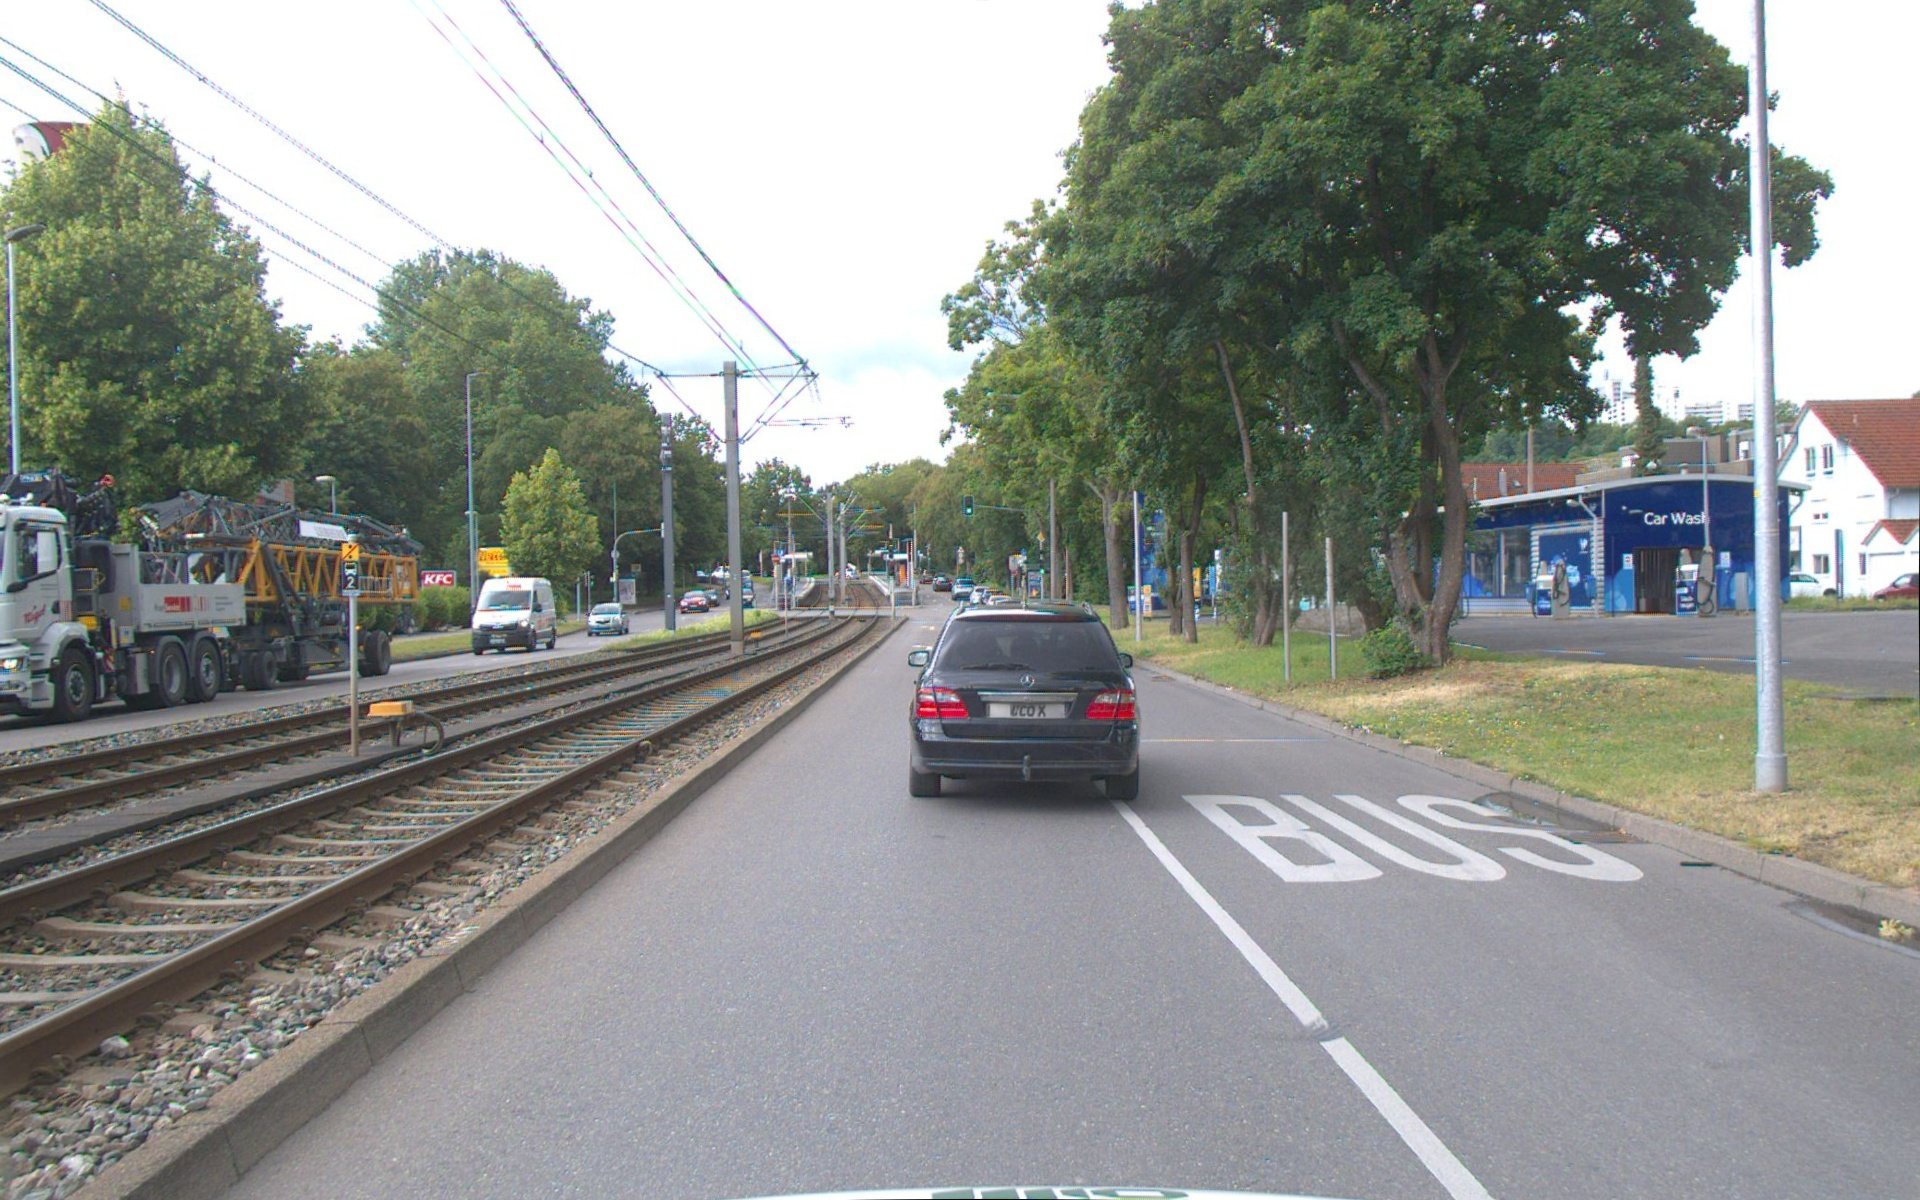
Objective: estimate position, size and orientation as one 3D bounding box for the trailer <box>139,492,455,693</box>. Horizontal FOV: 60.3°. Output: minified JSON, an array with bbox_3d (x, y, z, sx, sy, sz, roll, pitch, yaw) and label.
[{"bbox_3d":[-14.549,-0.158,37.912,2.651,3.724,13.288,-1,0,-4],"label":"trailer"}]

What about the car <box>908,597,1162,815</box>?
[{"bbox_3d":[0.499,0.737,13.475,1.772,1.500,3.880,0,0,-1],"label":"car"}]

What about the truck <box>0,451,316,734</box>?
[{"bbox_3d":[-13.846,-0.084,27.316,2.653,3.727,11.104,-1,0,-4],"label":"truck"}]

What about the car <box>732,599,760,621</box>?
[{"bbox_3d":[-16.552,0.783,127.884,1.729,1.676,3.770,0,0,-1],"label":"car"}]

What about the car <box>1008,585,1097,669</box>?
[{"bbox_3d":[2.069,0.594,37.714,1.744,1.781,3.717,1,0,-1],"label":"car"}]

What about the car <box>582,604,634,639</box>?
[{"bbox_3d":[-16.965,1.020,79.938,1.729,1.676,3.770,0,0,-1],"label":"car"}]

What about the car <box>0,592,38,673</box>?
[{"bbox_3d":[-23.826,0.727,38.271,3.909,1.829,1.876,0,0,-6],"label":"car"}]

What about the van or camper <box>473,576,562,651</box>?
[{"bbox_3d":[-15.230,0.429,57.261,1.955,2.395,5.759,-1,0,-5],"label":"van or camper"}]

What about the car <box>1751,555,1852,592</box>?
[{"bbox_3d":[41.414,-1.296,81.465,4.132,1.713,1.776,1,0,-4],"label":"car"}]

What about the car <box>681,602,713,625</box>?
[{"bbox_3d":[-18.938,0.962,119.251,1.729,1.676,3.770,0,0,-1],"label":"car"}]

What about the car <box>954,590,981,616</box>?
[{"bbox_3d":[0.555,0.211,124.222,1.953,1.870,3.999,0,0,-1],"label":"car"}]

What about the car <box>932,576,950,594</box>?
[{"bbox_3d":[-2.078,-1.613,181.463,1.953,1.870,3.999,0,0,-1],"label":"car"}]

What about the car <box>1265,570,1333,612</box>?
[{"bbox_3d":[14.708,-0.402,71.604,1.965,1.712,4.578,-1,0,23],"label":"car"}]

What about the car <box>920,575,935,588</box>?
[{"bbox_3d":[-3.851,-2.181,197.012,1.634,1.559,3.767,1,0,-4],"label":"car"}]

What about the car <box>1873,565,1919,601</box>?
[{"bbox_3d":[37.960,-0.659,65.224,1.553,1.419,3.407,1,0,-13],"label":"car"}]
